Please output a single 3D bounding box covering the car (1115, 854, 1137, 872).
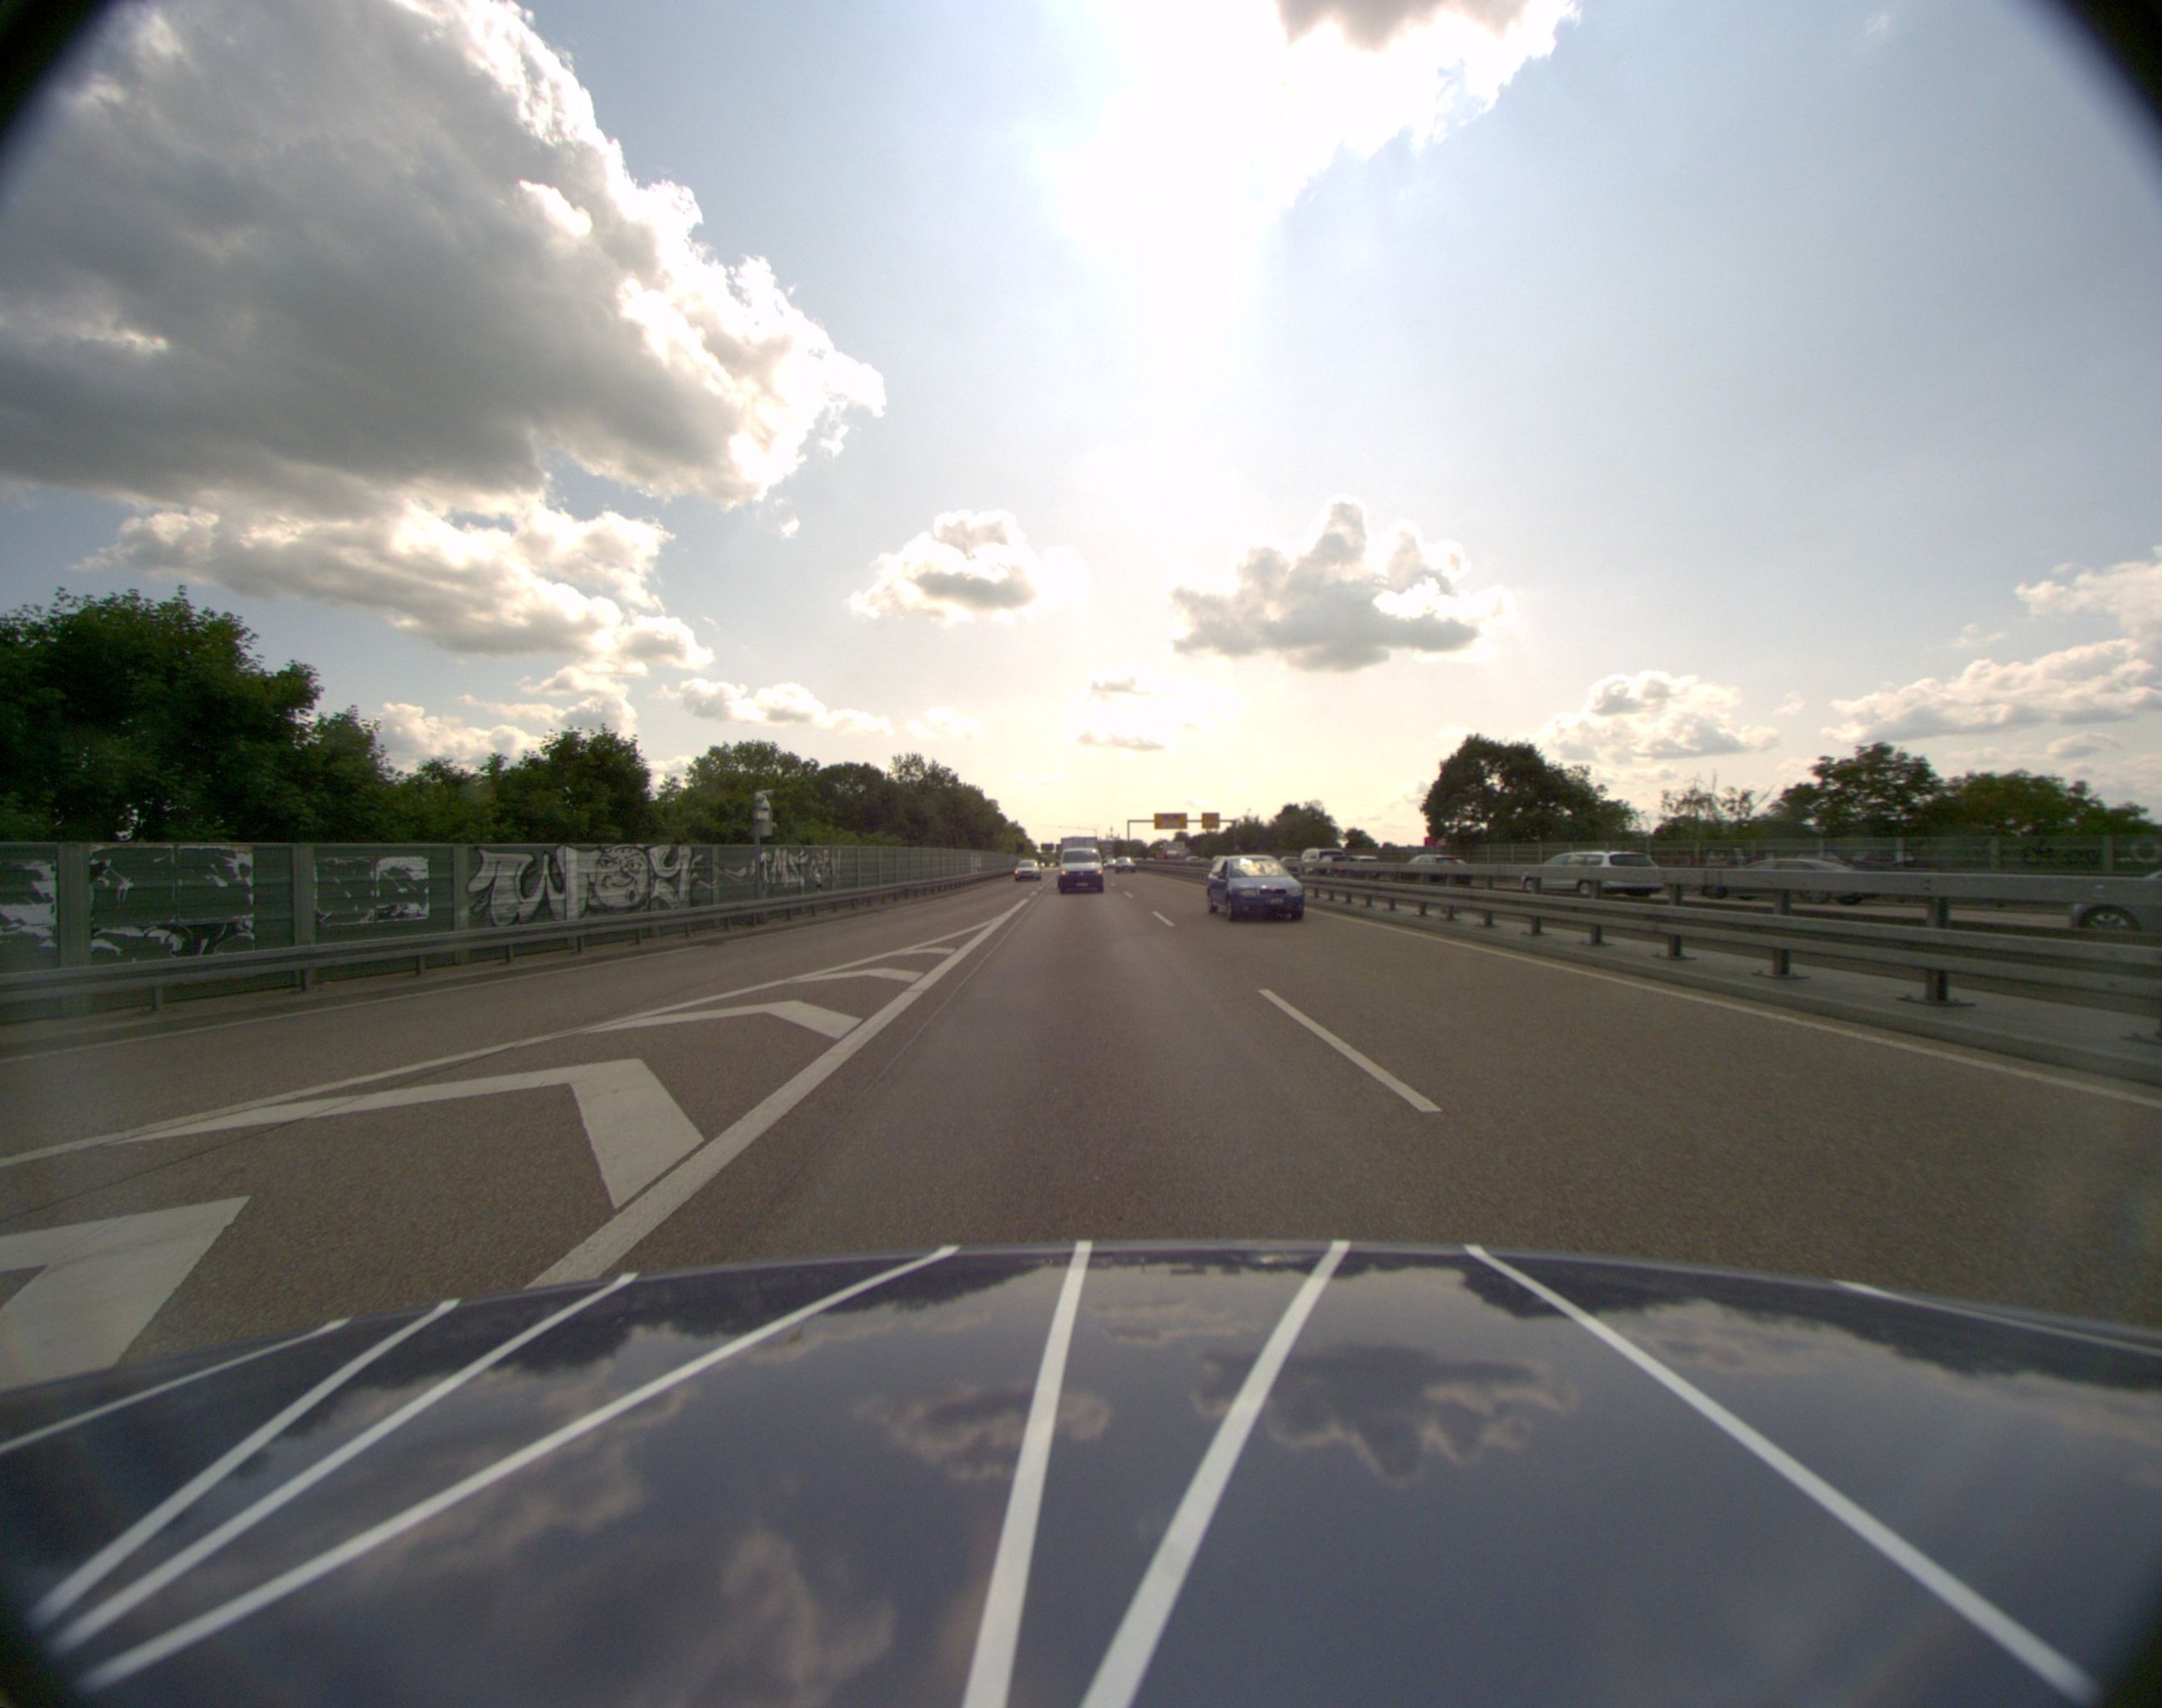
[{"bbox_3d":[4.191,0.786,71.202,1.779,1.518,4.464,-2,0,0],"label":"car"}]

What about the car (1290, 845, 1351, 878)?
[{"bbox_3d":[15.283,0.508,48.824,1.965,1.914,5.191,-3,0,-3],"label":"car"}]

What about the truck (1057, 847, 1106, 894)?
[{"bbox_3d":[0.009,0.698,33.391,2.008,1.905,4.000,-1,0,-1],"label":"truck"}]

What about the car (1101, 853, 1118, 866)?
[{"bbox_3d":[3.553,0.684,96.075,1.895,1.518,4.464,-2,0,0],"label":"car"}]

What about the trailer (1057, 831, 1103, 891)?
[{"bbox_3d":[-0.090,0.291,38.408,1.999,2.723,5.966,-2,0,-1],"label":"trailer"}]

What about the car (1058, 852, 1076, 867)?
[{"bbox_3d":[-1.581,0.586,87.431,1.802,1.587,3.984,-2,0,1],"label":"car"}]

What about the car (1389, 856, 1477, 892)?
[{"bbox_3d":[15.156,0.835,32.945,1.789,1.381,4.047,-2,-1,-2],"label":"car"}]

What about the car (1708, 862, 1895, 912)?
[{"bbox_3d":[22.856,0.978,24.303,1.649,1.378,3.993,-3,0,-20],"label":"car"}]

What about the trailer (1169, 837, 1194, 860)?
[{"bbox_3d":[17.038,-0.973,129.867,2.691,3.648,11.027,-2,0,0],"label":"trailer"}]

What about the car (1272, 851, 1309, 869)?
[{"bbox_3d":[18.400,0.494,66.909,1.929,1.565,4.244,0,0,-1],"label":"car"}]

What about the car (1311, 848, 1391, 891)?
[{"bbox_3d":[10.998,0.581,31.273,1.679,1.562,4.060,-2,0,-2],"label":"car"}]

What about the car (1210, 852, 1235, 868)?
[{"bbox_3d":[15.562,0.661,83.579,1.929,1.565,3.886,-2,0,-1],"label":"car"}]

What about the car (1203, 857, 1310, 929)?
[{"bbox_3d":[3.974,0.825,17.774,1.625,1.403,3.771,-2,0,1],"label":"car"}]

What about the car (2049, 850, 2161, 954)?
[{"bbox_3d":[15.991,0.692,10.069,1.602,1.466,3.630,1,0,-2],"label":"car"}]

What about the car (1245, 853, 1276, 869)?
[{"bbox_3d":[18.149,0.693,76.959,1.929,1.565,4.282,-1,0,-2],"label":"car"}]

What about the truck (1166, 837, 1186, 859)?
[{"bbox_3d":[17.011,-1.084,135.915,2.655,3.760,6.232,-2,1,0],"label":"truck"}]

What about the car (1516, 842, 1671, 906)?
[{"bbox_3d":[15.477,0.584,23.256,1.586,1.701,4.410,-2,-1,-2],"label":"car"}]

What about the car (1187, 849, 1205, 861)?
[{"bbox_3d":[15.645,0.131,103.358,1.719,1.610,4.281,1,0,-1],"label":"car"}]

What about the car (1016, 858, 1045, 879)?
[{"bbox_3d":[-3.624,1.016,54.628,1.768,1.403,3.771,-2,0,0],"label":"car"}]

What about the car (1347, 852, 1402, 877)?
[{"bbox_3d":[19.609,0.667,51.011,1.929,1.565,4.282,-1,0,-2],"label":"car"}]
